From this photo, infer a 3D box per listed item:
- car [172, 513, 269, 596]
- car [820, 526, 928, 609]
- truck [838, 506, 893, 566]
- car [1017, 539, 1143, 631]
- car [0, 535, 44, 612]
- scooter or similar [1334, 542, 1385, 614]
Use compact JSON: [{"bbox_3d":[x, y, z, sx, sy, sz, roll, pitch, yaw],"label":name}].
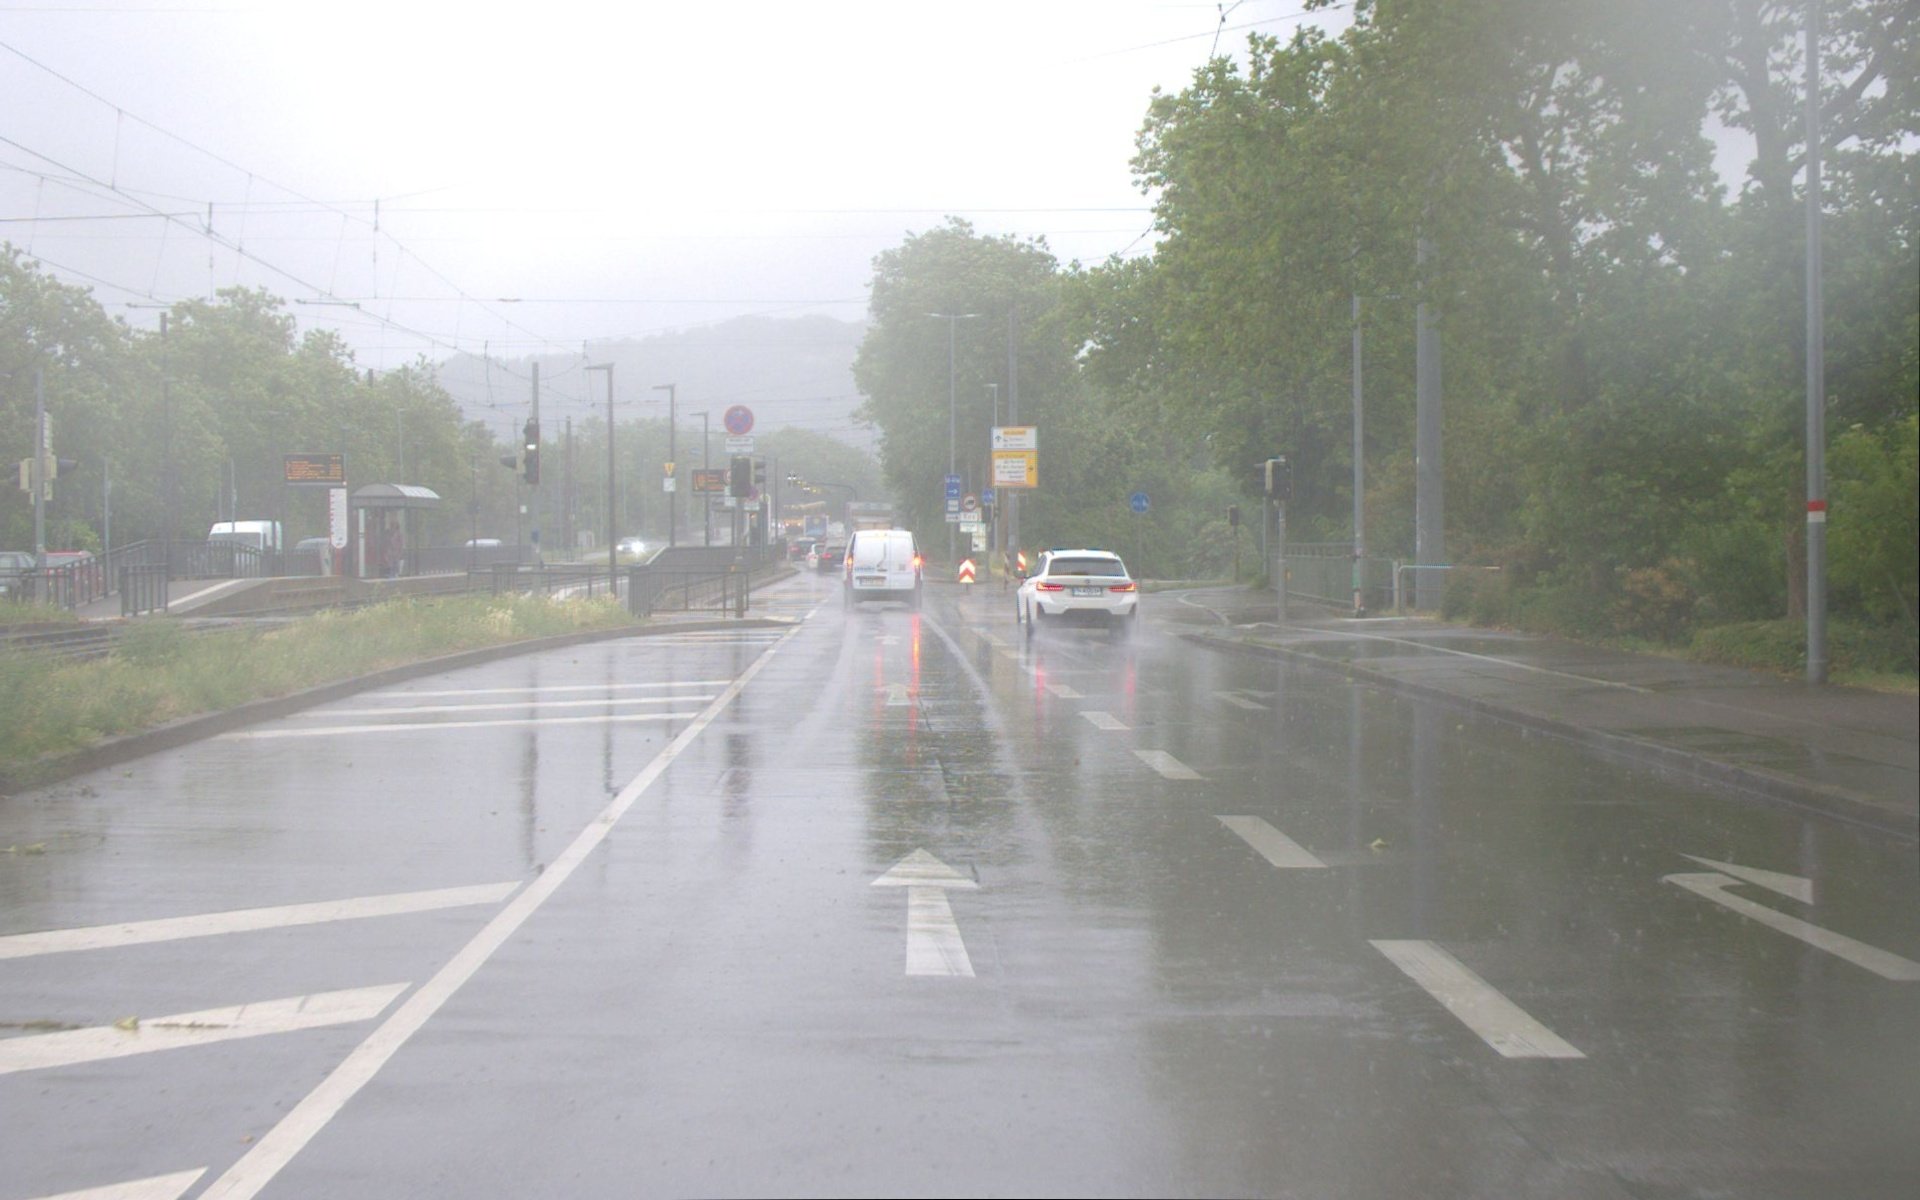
[{"bbox_3d":[-25.015,-1.547,116.440,2.119,2.703,5.739,1,1,-1],"label":"car"},{"bbox_3d":[-2.001,-0.764,78.679,1.993,1.842,4.001,0,1,-8],"label":"car"},{"bbox_3d":[-6.061,-4.030,219.071,2.775,3.691,9.854,1,1,-5],"label":"truck"},{"bbox_3d":[1.947,-0.273,56.776,1.888,1.426,4.000,1,1,-1],"label":"car"},{"bbox_3d":[-20.977,-0.518,72.772,1.993,1.590,4.381,-3,1,-1],"label":"car"},{"bbox_3d":[7.304,-0.408,62.964,0.759,1.288,1.647,1,0,1],"label":"scooter or similar"}]
